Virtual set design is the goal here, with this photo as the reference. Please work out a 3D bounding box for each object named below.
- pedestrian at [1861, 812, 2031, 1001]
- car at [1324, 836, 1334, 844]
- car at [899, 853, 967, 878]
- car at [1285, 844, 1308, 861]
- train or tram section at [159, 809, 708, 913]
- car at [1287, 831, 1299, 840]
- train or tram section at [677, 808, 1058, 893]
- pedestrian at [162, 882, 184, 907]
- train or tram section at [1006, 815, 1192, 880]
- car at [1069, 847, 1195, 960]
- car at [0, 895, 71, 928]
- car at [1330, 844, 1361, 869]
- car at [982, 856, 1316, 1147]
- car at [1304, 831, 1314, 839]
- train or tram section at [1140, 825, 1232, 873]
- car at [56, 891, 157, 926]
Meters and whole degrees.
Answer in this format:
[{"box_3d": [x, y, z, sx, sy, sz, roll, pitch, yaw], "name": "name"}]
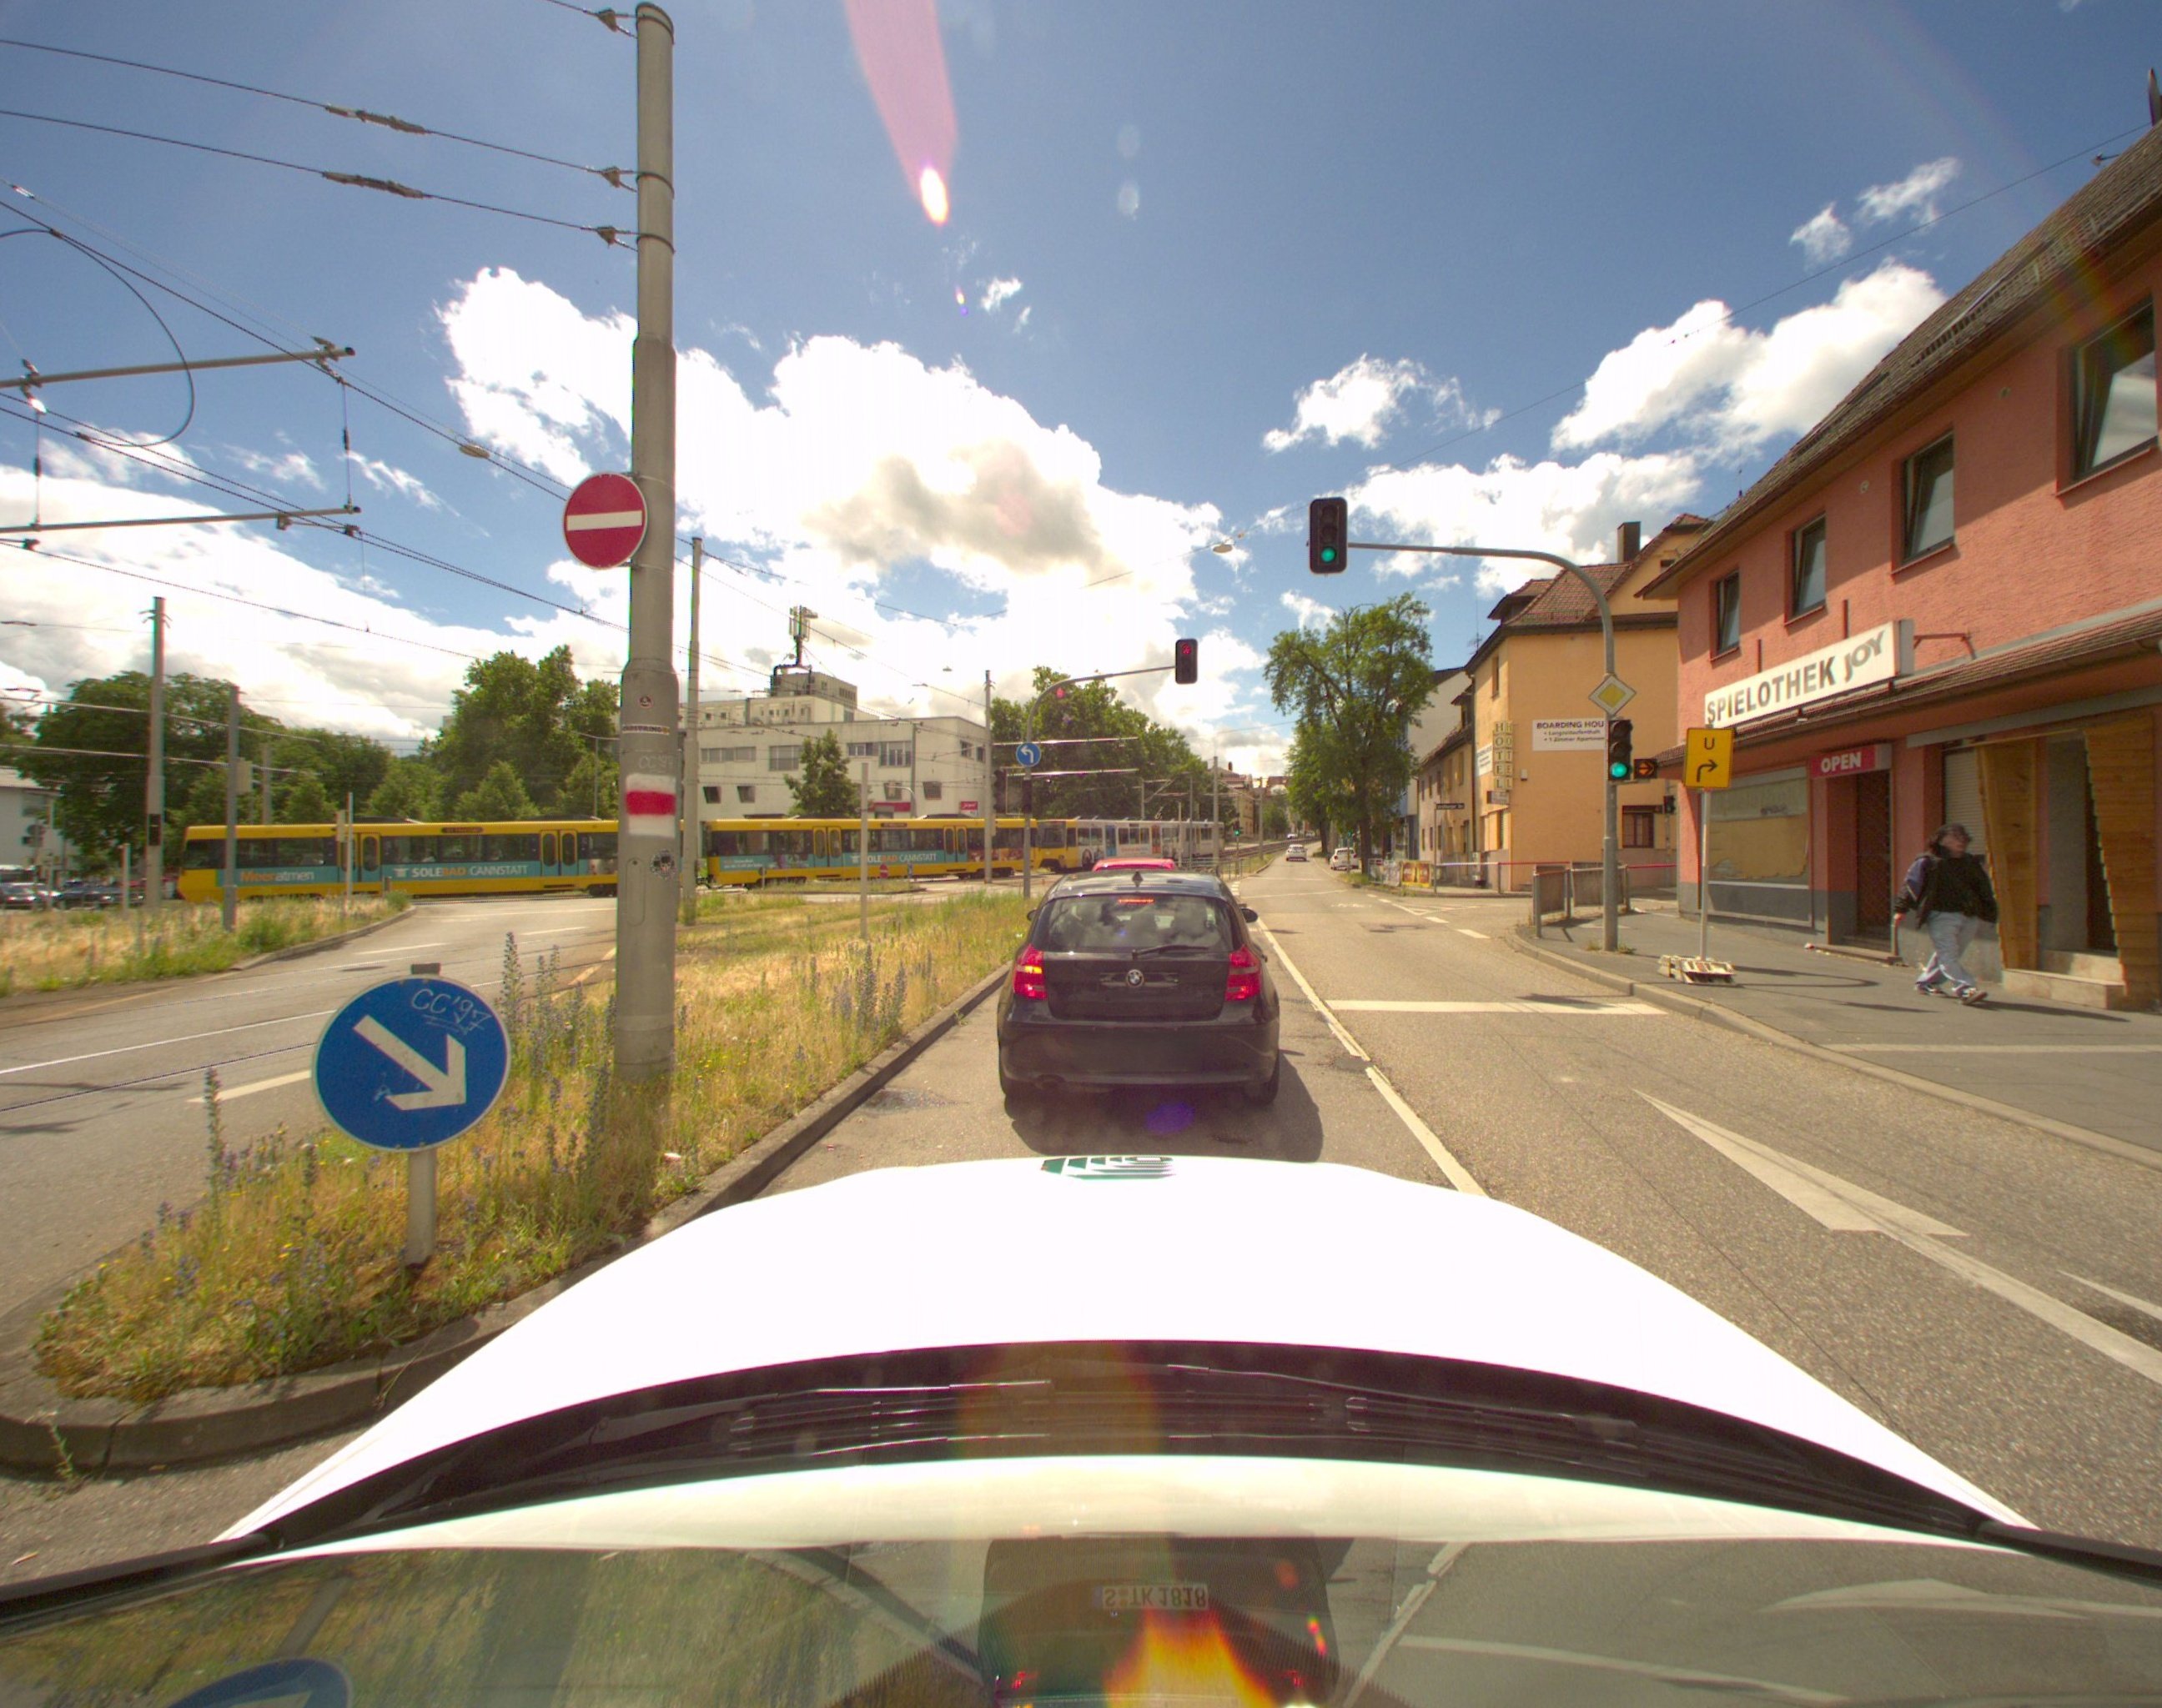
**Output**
[{"box_3d": [7.978, 0.460, 7.555, 0.759, 1.642, 0.781, -2, 1, 13], "name": "pedestrian"}, {"box_3d": [45.335, -2.509, 148.878, 1.801, 1.468, 4.017, 1, 1, 16], "name": "car"}, {"box_3d": [-10.172, 0.781, 56.084, 4.192, 1.585, 1.836, -1, -1, -42], "name": "car"}, {"box_3d": [19.746, -0.128, 74.717, 1.803, 1.468, 4.013, -1, 0, 12], "name": "car"}, {"box_3d": [-27.200, 0.150, 36.114, 18.878, 3.919, 3.740, -1, -1, -17], "name": "train or tram section"}, {"box_3d": [48.627, -4.279, 186.926, 1.976, 2.014, 4.022, -2, -1, 23], "name": "car"}, {"box_3d": [-10.601, -0.236, 44.567, 20.243, 3.829, 3.719, -1, -1, -38], "name": "train or tram section"}, {"box_3d": [-69.330, 3.054, 62.172, 0.811, 1.866, 0.835, -1, 0, 16], "name": "pedestrian"}, {"box_3d": [2.204, -0.380, 58.959, 3.713, 3.879, 20.764, -2, -1, 30], "name": "train or tram section"}, {"box_3d": [0.952, 0.689, 12.869, 1.616, 1.473, 4.009, -2, -1, 8], "name": "car"}, {"box_3d": [-58.168, 3.158, 44.567, 4.212, 1.651, 1.925, -2, -1, 12], "name": "car"}, {"box_3d": [18.030, 0.208, 55.726, 1.774, 1.596, 4.016, -2, -1, 15], "name": "car"}, {"box_3d": [0.344, 0.790, 6.230, 1.696, 1.452, 3.999, -2, -1, 0], "name": "car"}, {"box_3d": [57.660, -4.822, 206.032, 1.976, 2.014, 4.022, -2, -1, 23], "name": "car"}, {"box_3d": [10.367, -0.328, 76.435, 3.717, 3.814, 20.156, -2, -1, 21], "name": "train or tram section"}, {"box_3d": [-56.520, 3.151, 47.268, 4.196, 1.791, 2.030, -2, -1, 12], "name": "car"}]
